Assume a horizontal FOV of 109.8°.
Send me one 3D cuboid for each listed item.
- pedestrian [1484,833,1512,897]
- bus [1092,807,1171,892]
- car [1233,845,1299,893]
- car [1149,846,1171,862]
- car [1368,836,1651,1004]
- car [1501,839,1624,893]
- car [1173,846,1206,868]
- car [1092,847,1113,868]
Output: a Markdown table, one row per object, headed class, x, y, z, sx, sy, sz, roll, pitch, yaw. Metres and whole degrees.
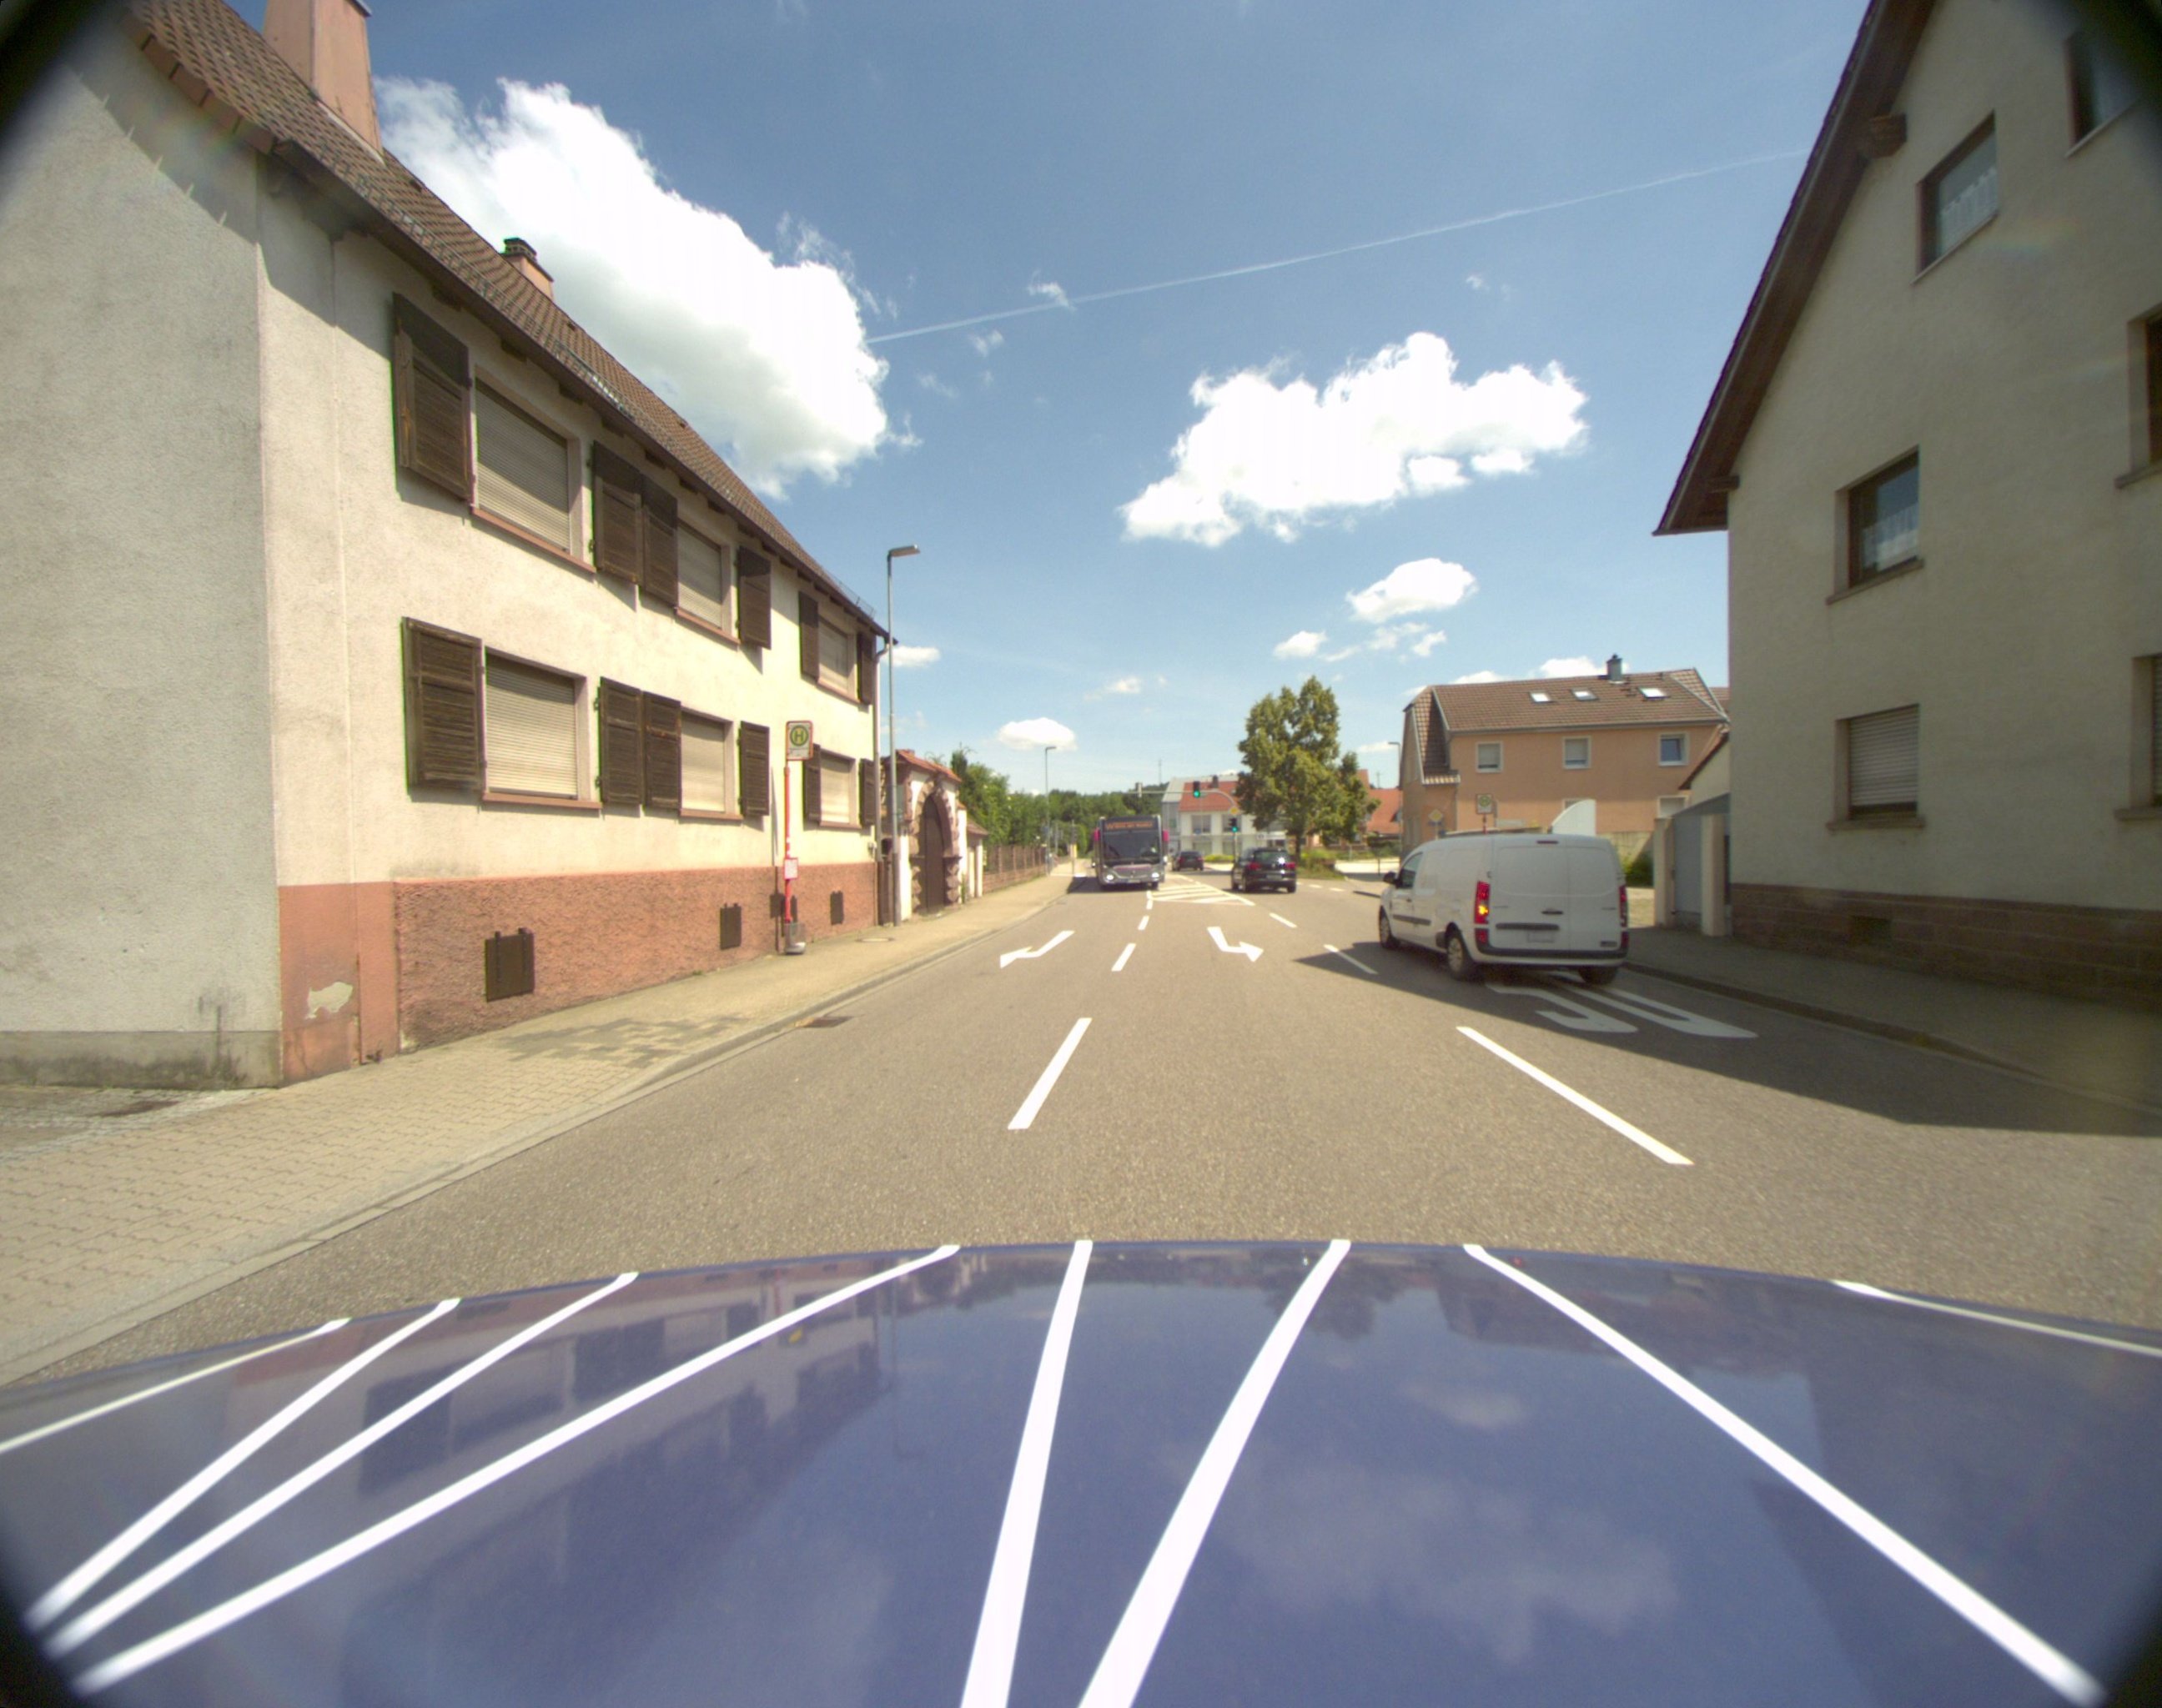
| class | x | y | z | sx | sy | sz | roll | pitch | yaw |
| --- | --- | --- | --- | --- | --- | --- | --- | --- | --- |
| pedestrian | 11.564 | 0.294 | 21.078 | 0.471 | 1.754 | 0.478 | -1 | 1 | -13 |
| bus | 2.082 | -0.218 | 38.753 | 2.859 | 3.186 | 19.031 | -2 | 0 | 1 |
| car | 6.684 | 0.508 | 27.826 | 1.752 | 1.602 | 4.001 | -1 | 1 | 5 |
| car | 7.647 | -0.024 | 73.767 | 1.784 | 1.448 | 4.531 | -1 | 1 | 2 |
| car | 5.524 | 0.678 | 10.585 | 1.786 | 1.819 | 4.602 | 0 | 1 | 7 |
| car | 15.655 | 0.359 | 24.951 | 1.752 | 1.602 | 4.001 | -1 | 1 | 5 |
| car | 7.456 | 0.196 | 52.427 | 1.784 | 1.448 | 4.531 | -1 | 1 | 2 |
| car | 1.959 | 0.277 | 67.788 | 1.787 | 1.819 | 4.352 | 0 | 1 | 2 |
